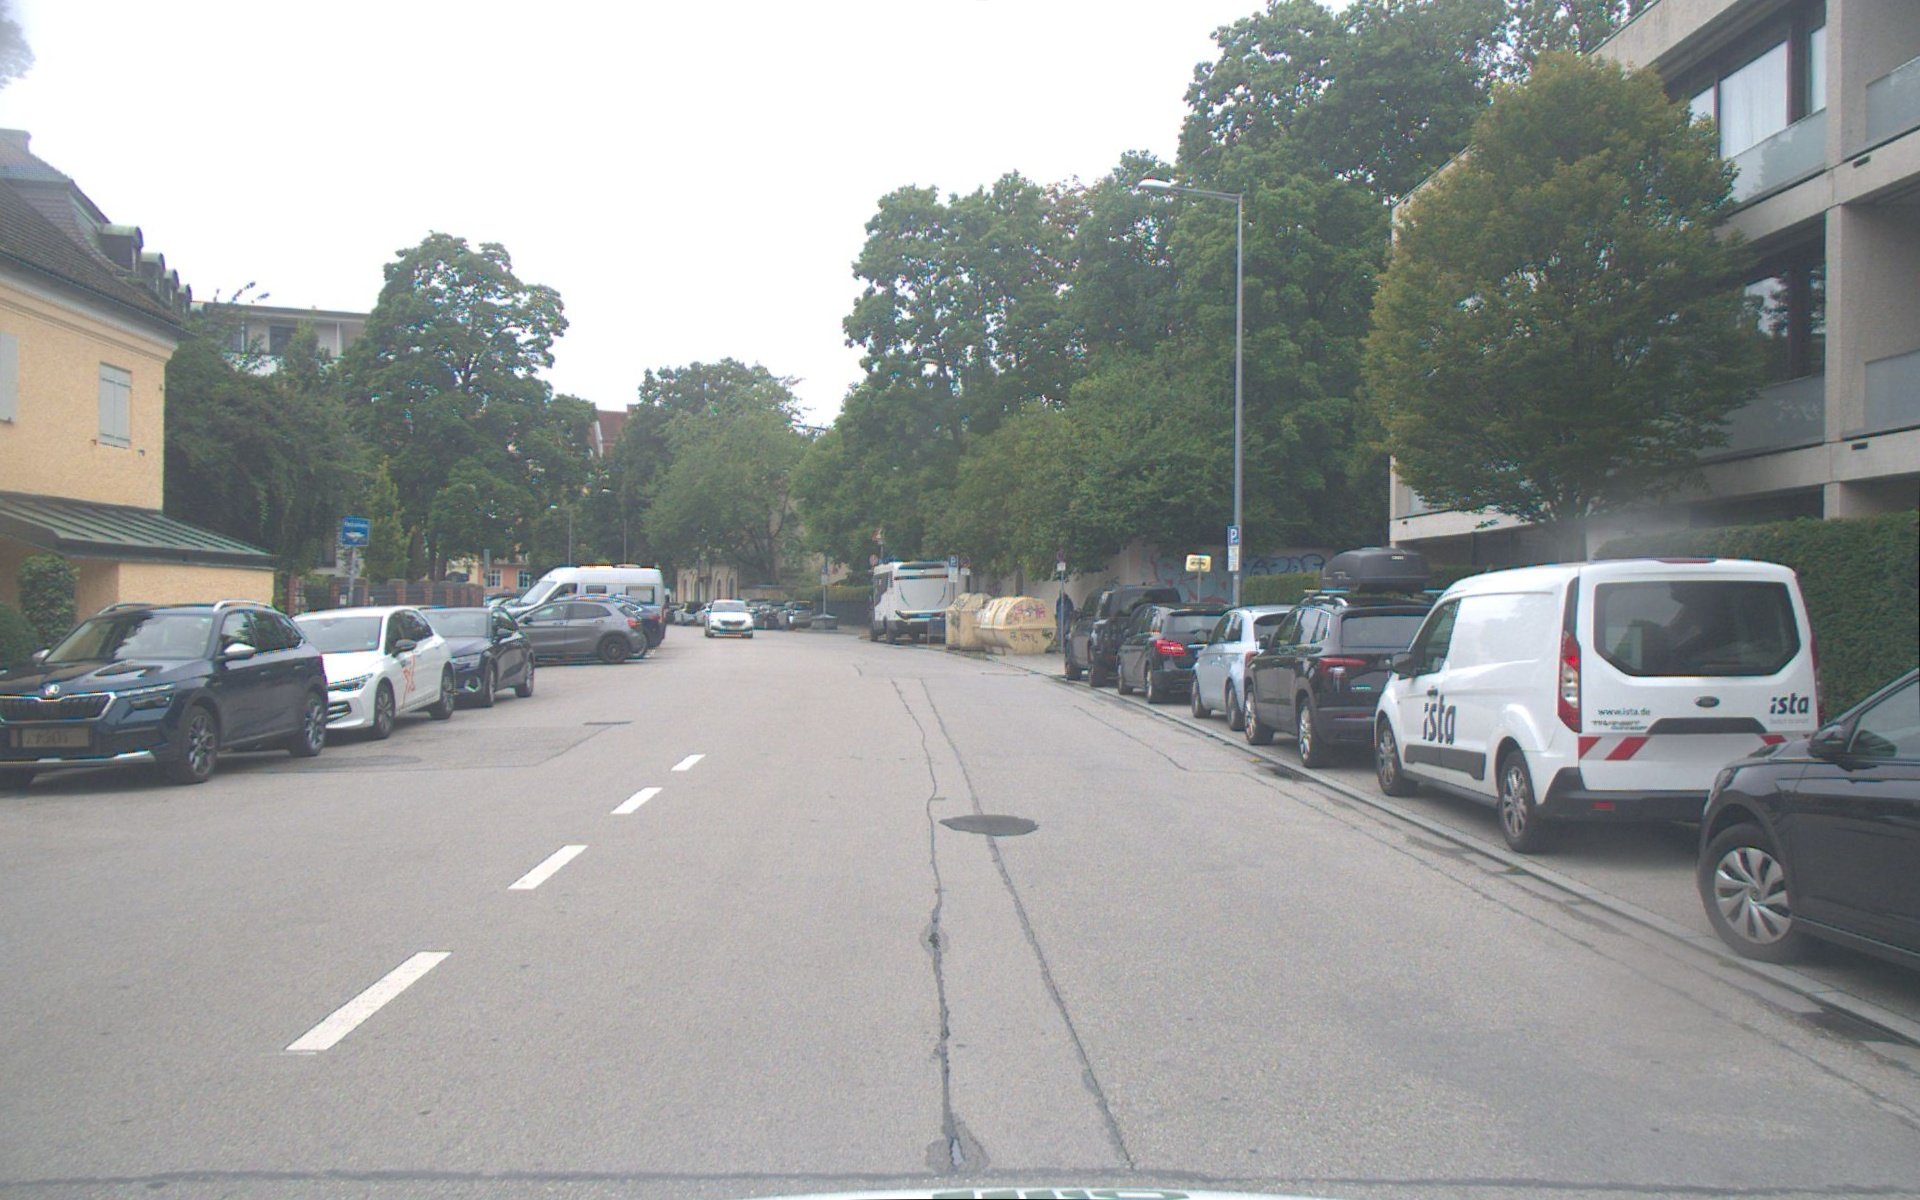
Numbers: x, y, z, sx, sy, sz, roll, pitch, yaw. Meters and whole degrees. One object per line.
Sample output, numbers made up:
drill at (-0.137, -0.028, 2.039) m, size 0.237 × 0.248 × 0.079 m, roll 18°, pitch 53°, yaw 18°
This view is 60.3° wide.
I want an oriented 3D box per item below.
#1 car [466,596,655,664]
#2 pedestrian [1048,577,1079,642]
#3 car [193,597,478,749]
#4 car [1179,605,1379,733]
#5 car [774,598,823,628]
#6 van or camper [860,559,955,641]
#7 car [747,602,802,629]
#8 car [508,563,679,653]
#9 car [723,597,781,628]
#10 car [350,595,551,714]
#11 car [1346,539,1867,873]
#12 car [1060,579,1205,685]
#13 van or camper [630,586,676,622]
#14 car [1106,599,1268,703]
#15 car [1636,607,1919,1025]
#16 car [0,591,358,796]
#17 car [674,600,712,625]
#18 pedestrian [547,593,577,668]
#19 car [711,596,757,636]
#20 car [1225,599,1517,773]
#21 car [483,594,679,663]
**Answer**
car at (-9.495, 0.710, 39.367) m, size 4.260 × 1.557 × 1.925 m, roll 0°, pitch -1°, yaw -16°
pedestrian at (3.248, 0.310, 51.964) m, size 0.783 × 2.020 × 0.627 m, roll 1°, pitch 0°, yaw -18°
car at (-7.370, 0.777, 20.043) m, size 1.808 × 1.562 × 4.519 m, roll -2°, pitch 0°, yaw -2°
car at (4.094, 0.838, 21.827) m, size 1.713 × 1.506 × 3.886 m, roll 0°, pitch 0°, yaw -3°
car at (-8.729, 0.727, 89.304) m, size 1.717 × 1.563 × 2.923 m, roll -1°, pitch 0°, yaw -25°
van or camper at (-2.110, 0.009, 63.903) m, size 2.234 × 2.957 × 7.250 m, roll 0°, pitch 0°, yaw -14°
car at (-10.445, 0.849, 93.040) m, size 1.853 × 1.452 × 4.189 m, roll -1°, pitch 0°, yaw -25°
car at (-11.099, 0.192, 50.162) m, size 4.586 × 2.608 × 2.206 m, roll -1°, pitch 0°, yaw -36°
car at (-12.260, 0.693, 97.279) m, size 1.968 × 1.741 × 4.846 m, roll -1°, pitch 0°, yaw -25°
car at (-7.542, 0.737, 24.957) m, size 1.808 × 1.562 × 4.558 m, roll -2°, pitch 0°, yaw -3°
car at (4.335, 0.606, 12.065) m, size 1.785 × 1.893 × 4.897 m, roll 2°, pitch 0°, yaw -1°
car at (3.319, 0.628, 32.890) m, size 1.949 × 1.904 × 5.072 m, roll 1°, pitch -1°, yaw -5°
van or camper at (-22.722, 0.280, 122.392) m, size 2.163 × 2.595 × 5.687 m, roll -1°, pitch 0°, yaw -23°
car at (3.673, 0.780, 27.534) m, size 1.713 × 1.566 × 4.565 m, roll 1°, pitch 0°, yaw -5°
car at (4.316, 0.789, 6.183) m, size 1.713 × 1.489 × 4.240 m, roll 0°, pitch 0°, yaw -2°
car at (-7.218, 0.764, 15.227) m, size 1.808 × 1.562 × 4.439 m, roll -2°, pitch 0°, yaw -2°
car at (-17.903, 0.841, 110.777) m, size 1.683 × 1.564 × 4.212 m, roll -2°, pitch 0°, yaw -22°
pedestrian at (-9.197, 0.698, 38.236) m, size 0.579 × 1.676 × 0.713 m, roll -2°, pitch 1°, yaw -10°
car at (-8.929, 0.626, 65.300) m, size 1.739 × 1.501 × 4.126 m, roll 1°, pitch 0°, yaw -8°
car at (4.076, 0.779, 17.209) m, size 1.713 × 1.506 × 4.596 m, roll 1°, pitch 0°, yaw -2°
car at (-9.628, 0.693, 42.128) m, size 4.477 × 1.621 × 1.940 m, roll -1°, pitch 0°, yaw -36°
